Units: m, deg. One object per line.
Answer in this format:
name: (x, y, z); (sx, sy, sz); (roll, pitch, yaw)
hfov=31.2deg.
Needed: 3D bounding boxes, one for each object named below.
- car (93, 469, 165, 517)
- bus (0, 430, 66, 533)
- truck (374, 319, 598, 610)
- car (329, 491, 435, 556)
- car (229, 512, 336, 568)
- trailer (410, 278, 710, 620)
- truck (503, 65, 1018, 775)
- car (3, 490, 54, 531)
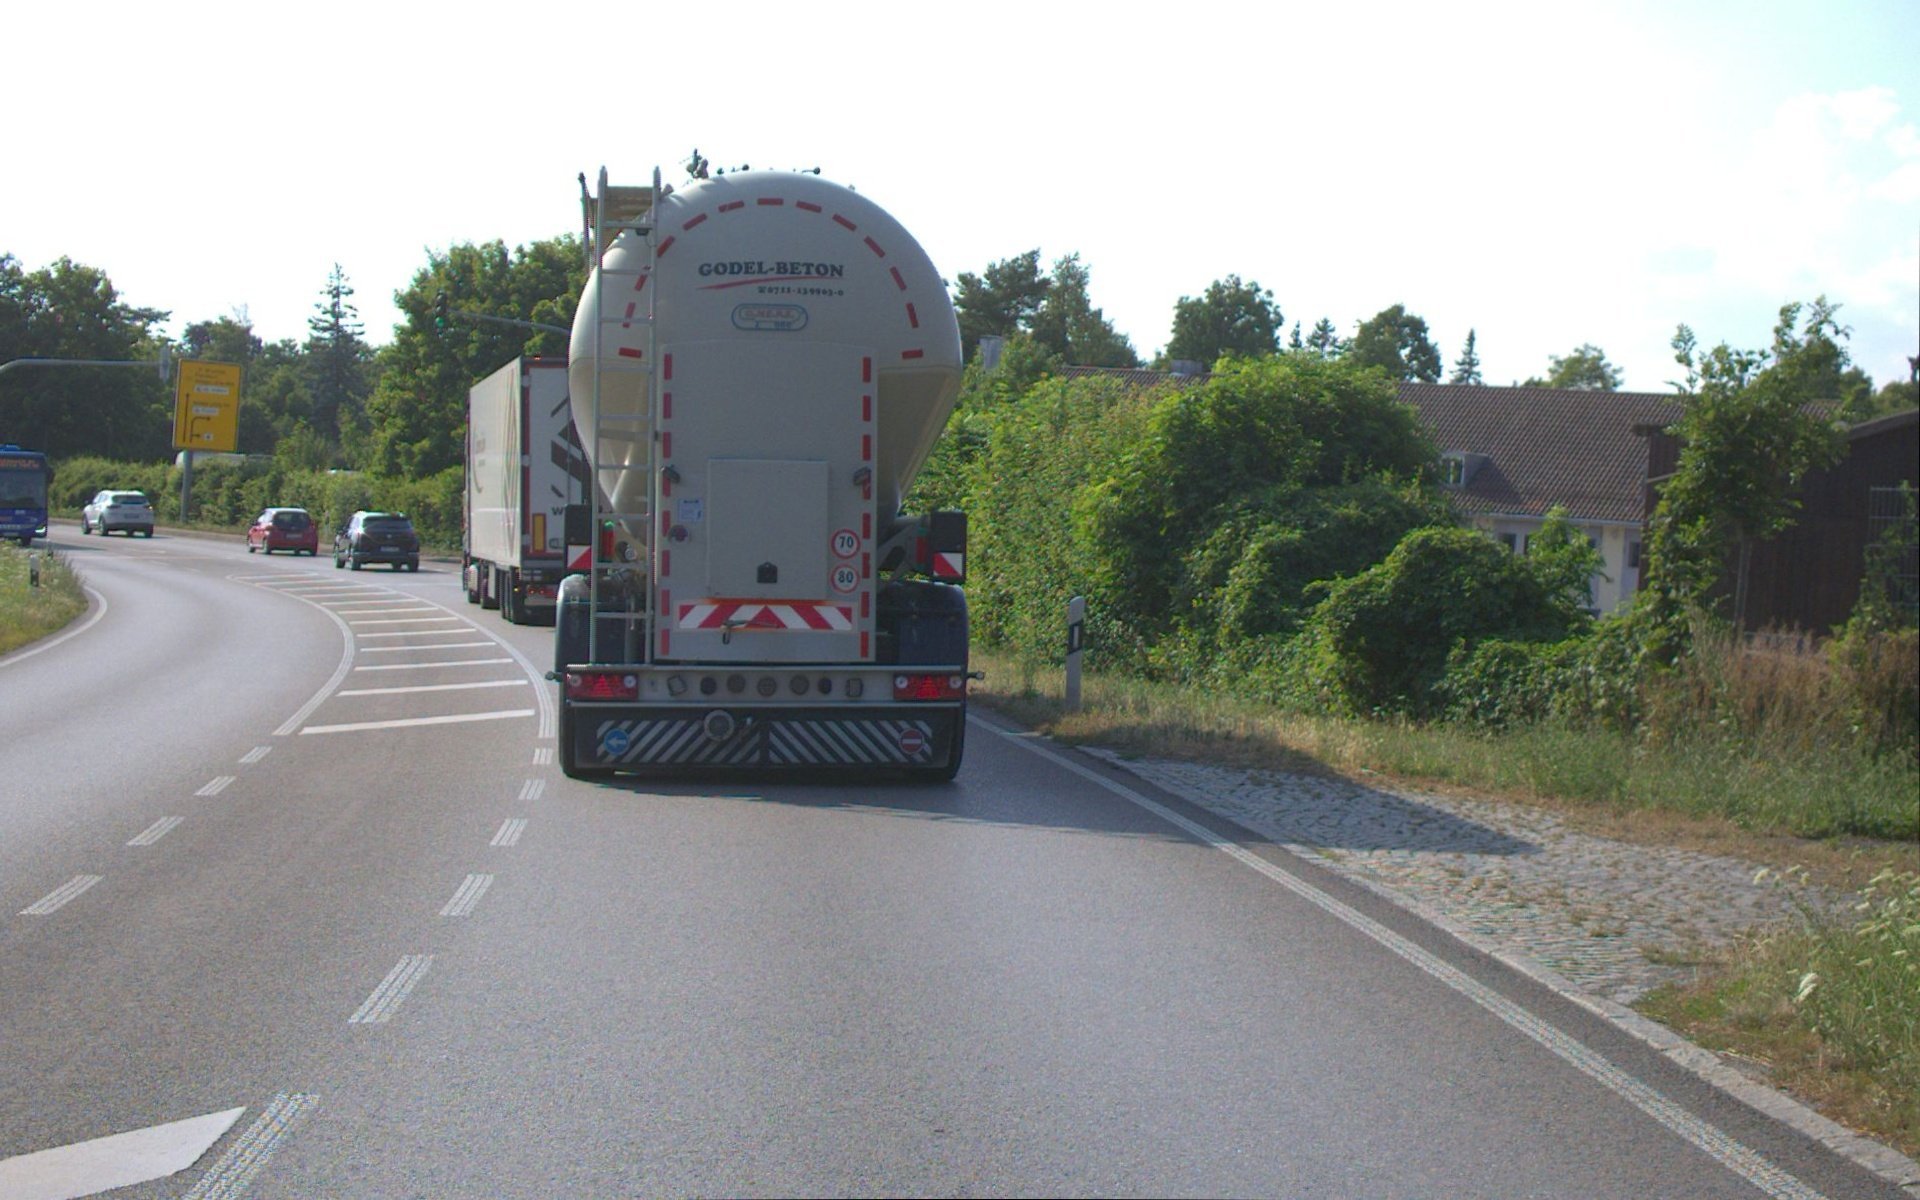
car: (-30.558, -3.932, 126.402); (1.841, 1.650, 4.001); (1, 0, -24)
bus: (-32.203, -3.883, 114.640); (2.793, 3.170, 12.130); (1, 0, -23)
truck: (-8.614, -2.342, 61.830); (2.962, 4.870, 6.432); (1, 0, -16)
car: (-15.454, -2.028, 91.764); (1.993, 1.650, 4.001); (1, 0, -21)
car: (-21.176, -1.863, 107.374); (2.299, 1.650, 4.416); (1, 0, -24)
trailer: (-6.591, -2.246, 54.908); (2.963, 4.865, 10.291); (1, 0, -16)
truck: (-1.752, -1.110, 26.381); (2.975, 4.161, 11.664); (1, 0, -6)
car: (-38.678, -3.701, 142.704); (1.519, 1.650, 3.873); (1, 0, -22)
